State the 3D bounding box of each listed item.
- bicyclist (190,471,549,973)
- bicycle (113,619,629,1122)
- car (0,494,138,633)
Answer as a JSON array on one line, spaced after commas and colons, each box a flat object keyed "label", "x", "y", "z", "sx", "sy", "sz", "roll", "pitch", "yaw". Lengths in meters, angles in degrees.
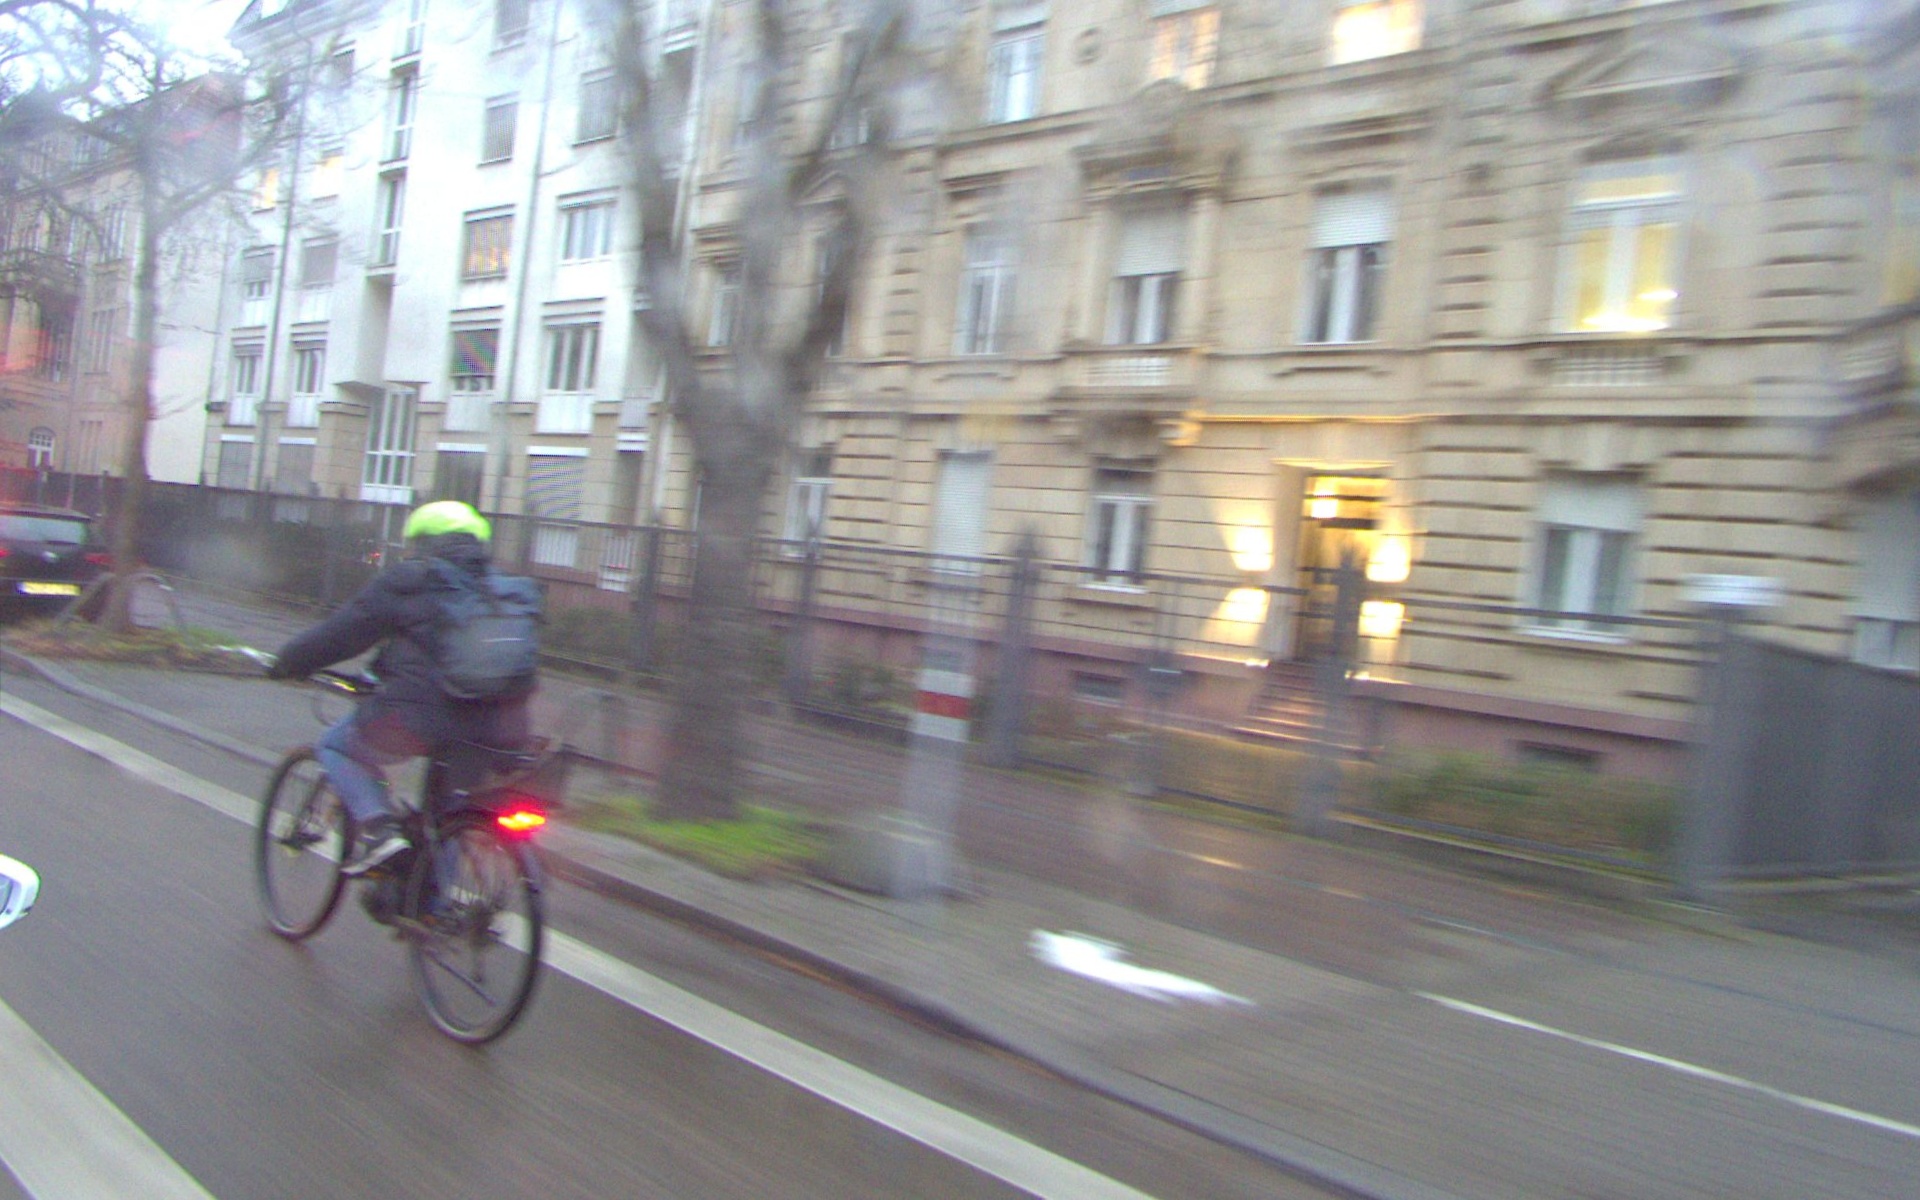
[{"label": "bicyclist", "x": -2.039, "y": 0.359, "z": 3.479, "sx": 0.836, "sy": 1.464, "sz": 0.656, "roll": 8, "pitch": 2, "yaw": 34}, {"label": "bicycle", "x": -2.144, "y": 0.760, "z": 3.537, "sx": 1.997, "sy": 1.110, "sz": 0.707, "roll": 8, "pitch": 1, "yaw": 35}, {"label": "car", "x": -12.326, "y": -0.598, "z": 12.708, "sx": 3.974, "sy": 1.478, "sz": 1.679, "roll": 7, "pitch": 0, "yaw": 31}]
